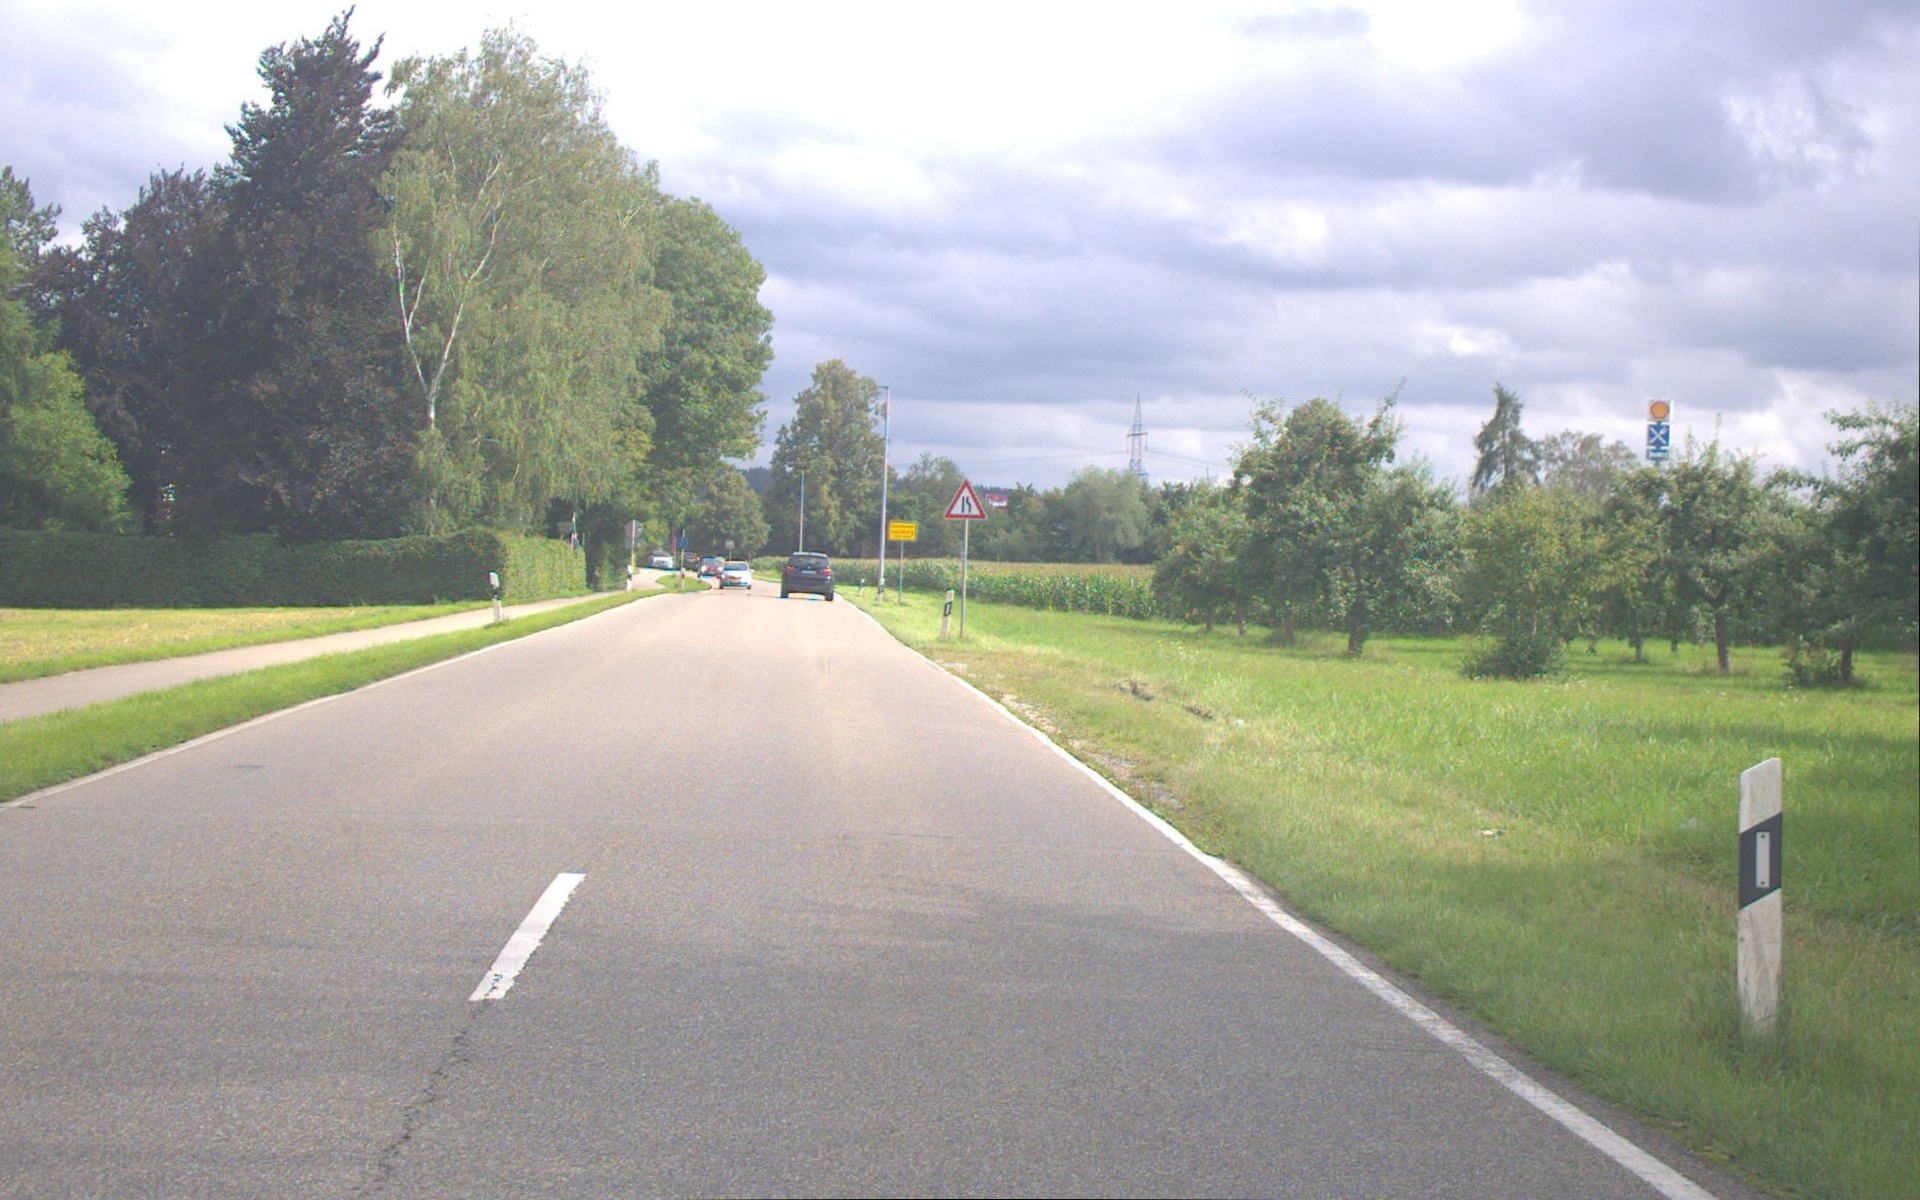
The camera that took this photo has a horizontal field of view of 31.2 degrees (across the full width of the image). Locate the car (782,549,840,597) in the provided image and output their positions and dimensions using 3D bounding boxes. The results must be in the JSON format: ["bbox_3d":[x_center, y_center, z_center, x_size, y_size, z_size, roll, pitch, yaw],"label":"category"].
[{"bbox_3d":[-5.278,-0.970,122.322,1.906,1.660,4.000,1,1,-1],"label":"car"}]

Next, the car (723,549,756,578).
[{"bbox_3d":[-11.730,-1.952,183.235,1.695,1.454,3.543,1,1,-3],"label":"car"}]
